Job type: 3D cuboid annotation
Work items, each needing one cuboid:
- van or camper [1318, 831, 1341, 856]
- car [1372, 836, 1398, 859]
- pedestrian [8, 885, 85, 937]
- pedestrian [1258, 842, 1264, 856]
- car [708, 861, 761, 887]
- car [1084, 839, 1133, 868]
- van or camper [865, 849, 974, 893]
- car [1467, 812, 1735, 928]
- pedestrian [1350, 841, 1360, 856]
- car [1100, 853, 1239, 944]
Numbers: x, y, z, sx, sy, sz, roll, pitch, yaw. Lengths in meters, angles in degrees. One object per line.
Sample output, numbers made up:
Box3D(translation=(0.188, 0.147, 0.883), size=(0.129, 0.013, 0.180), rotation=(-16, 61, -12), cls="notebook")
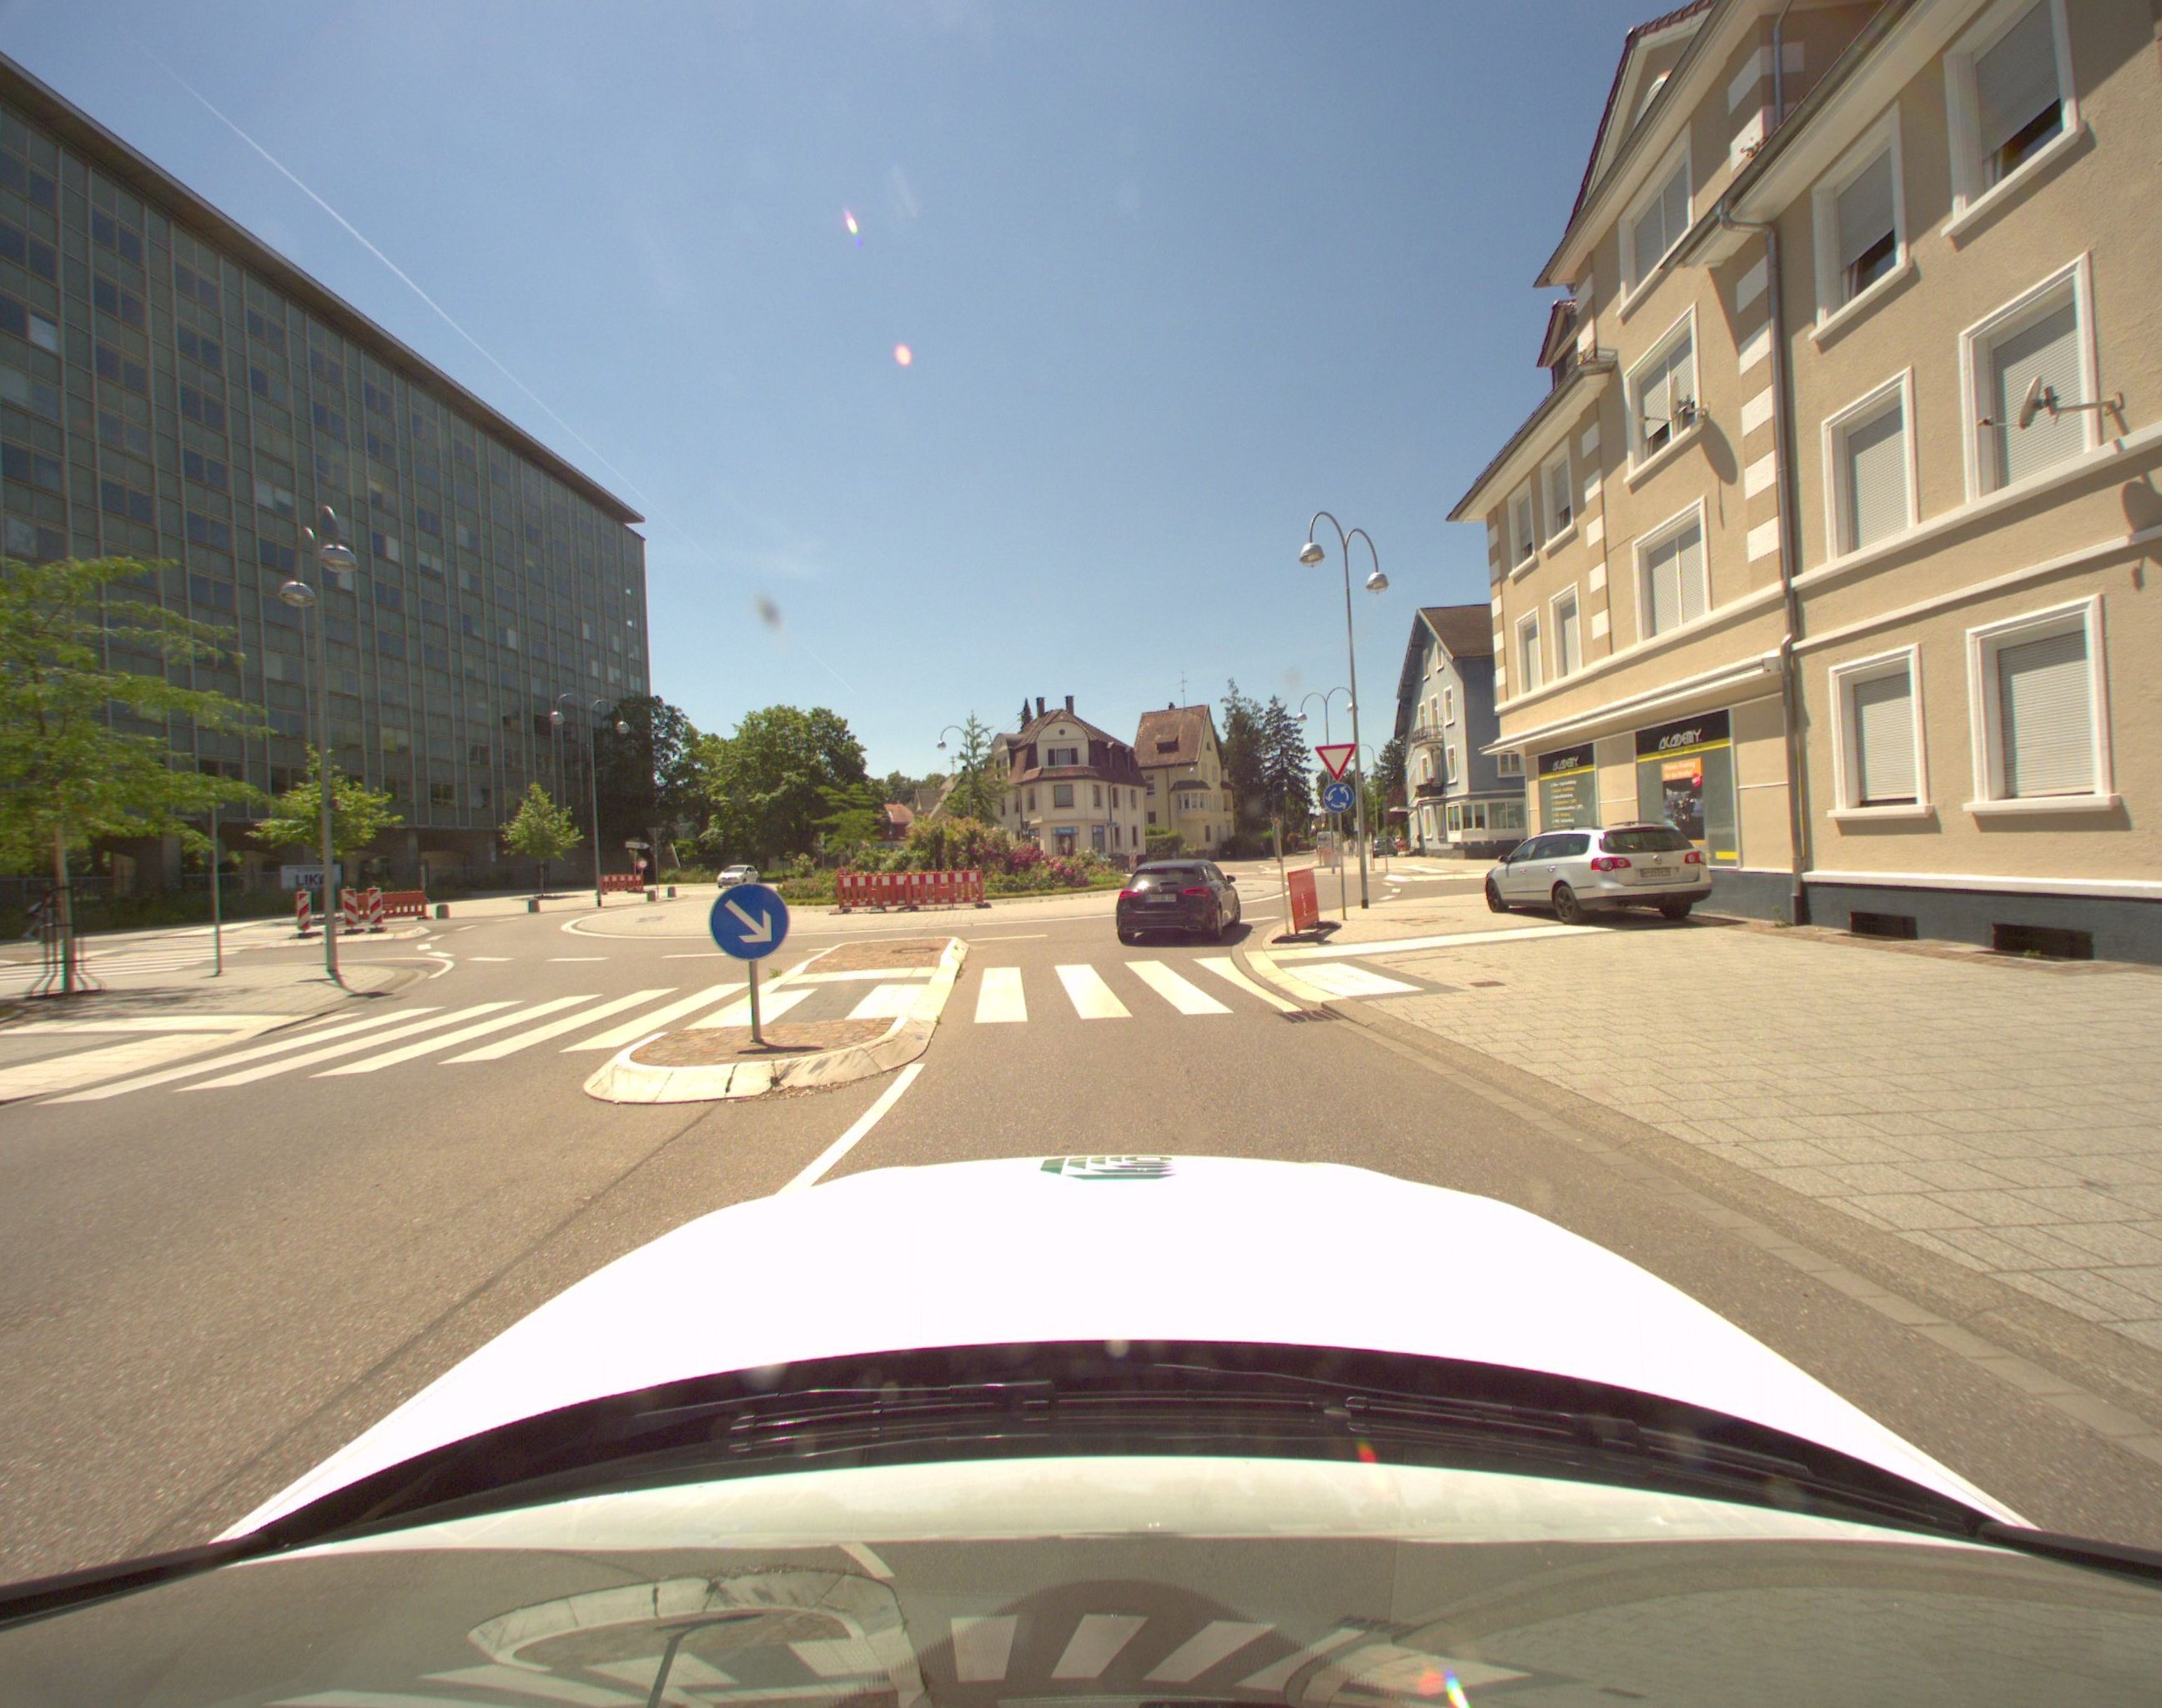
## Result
Box3D(translation=(27.404, -1.105, 89.701), size=(2.187, 2.610, 4.020), rotation=(-2, 0, 20), cls="van or camper")
Box3D(translation=(23.021, -0.489, 61.558), size=(1.625, 1.507, 3.583), rotation=(-6, -1, 22), cls="car")
Box3D(translation=(-33.845, 1.843, 26.662), size=(0.938, 1.585, 1.289), rotation=(-3, 0, 21), cls="pedestrian")
Box3D(translation=(20.233, -0.557, 91.574), size=(0.518, 1.509, 0.476), rotation=(-2, 0, 28), cls="pedestrian")
Box3D(translation=(-23.003, 1.329, 54.196), size=(1.779, 1.597, 3.920), rotation=(-2, -1, 1), cls="car")
Box3D(translation=(1.812, -0.019, 52.223), size=(1.904, 1.772, 4.021), rotation=(-1, 0, 22), cls="car")
Box3D(translation=(-8.562, 0.824, 43.485), size=(5.439, 2.171, 1.977), rotation=(-1, 1, -39), cls="van or camper")
Box3D(translation=(8.410, 0.249, 13.783), size=(1.756, 1.530, 4.696), rotation=(-4, -1, 5), cls="car")
Box3D(translation=(24.406, -0.465, 72.491), size=(0.660, 1.286, 0.591), rotation=(-6, -1, 29), cls="pedestrian")
Box3D(translation=(1.813, 0.745, 15.378), size=(1.939, 1.427, 4.017), rotation=(-2, 0, 15), cls="car")
